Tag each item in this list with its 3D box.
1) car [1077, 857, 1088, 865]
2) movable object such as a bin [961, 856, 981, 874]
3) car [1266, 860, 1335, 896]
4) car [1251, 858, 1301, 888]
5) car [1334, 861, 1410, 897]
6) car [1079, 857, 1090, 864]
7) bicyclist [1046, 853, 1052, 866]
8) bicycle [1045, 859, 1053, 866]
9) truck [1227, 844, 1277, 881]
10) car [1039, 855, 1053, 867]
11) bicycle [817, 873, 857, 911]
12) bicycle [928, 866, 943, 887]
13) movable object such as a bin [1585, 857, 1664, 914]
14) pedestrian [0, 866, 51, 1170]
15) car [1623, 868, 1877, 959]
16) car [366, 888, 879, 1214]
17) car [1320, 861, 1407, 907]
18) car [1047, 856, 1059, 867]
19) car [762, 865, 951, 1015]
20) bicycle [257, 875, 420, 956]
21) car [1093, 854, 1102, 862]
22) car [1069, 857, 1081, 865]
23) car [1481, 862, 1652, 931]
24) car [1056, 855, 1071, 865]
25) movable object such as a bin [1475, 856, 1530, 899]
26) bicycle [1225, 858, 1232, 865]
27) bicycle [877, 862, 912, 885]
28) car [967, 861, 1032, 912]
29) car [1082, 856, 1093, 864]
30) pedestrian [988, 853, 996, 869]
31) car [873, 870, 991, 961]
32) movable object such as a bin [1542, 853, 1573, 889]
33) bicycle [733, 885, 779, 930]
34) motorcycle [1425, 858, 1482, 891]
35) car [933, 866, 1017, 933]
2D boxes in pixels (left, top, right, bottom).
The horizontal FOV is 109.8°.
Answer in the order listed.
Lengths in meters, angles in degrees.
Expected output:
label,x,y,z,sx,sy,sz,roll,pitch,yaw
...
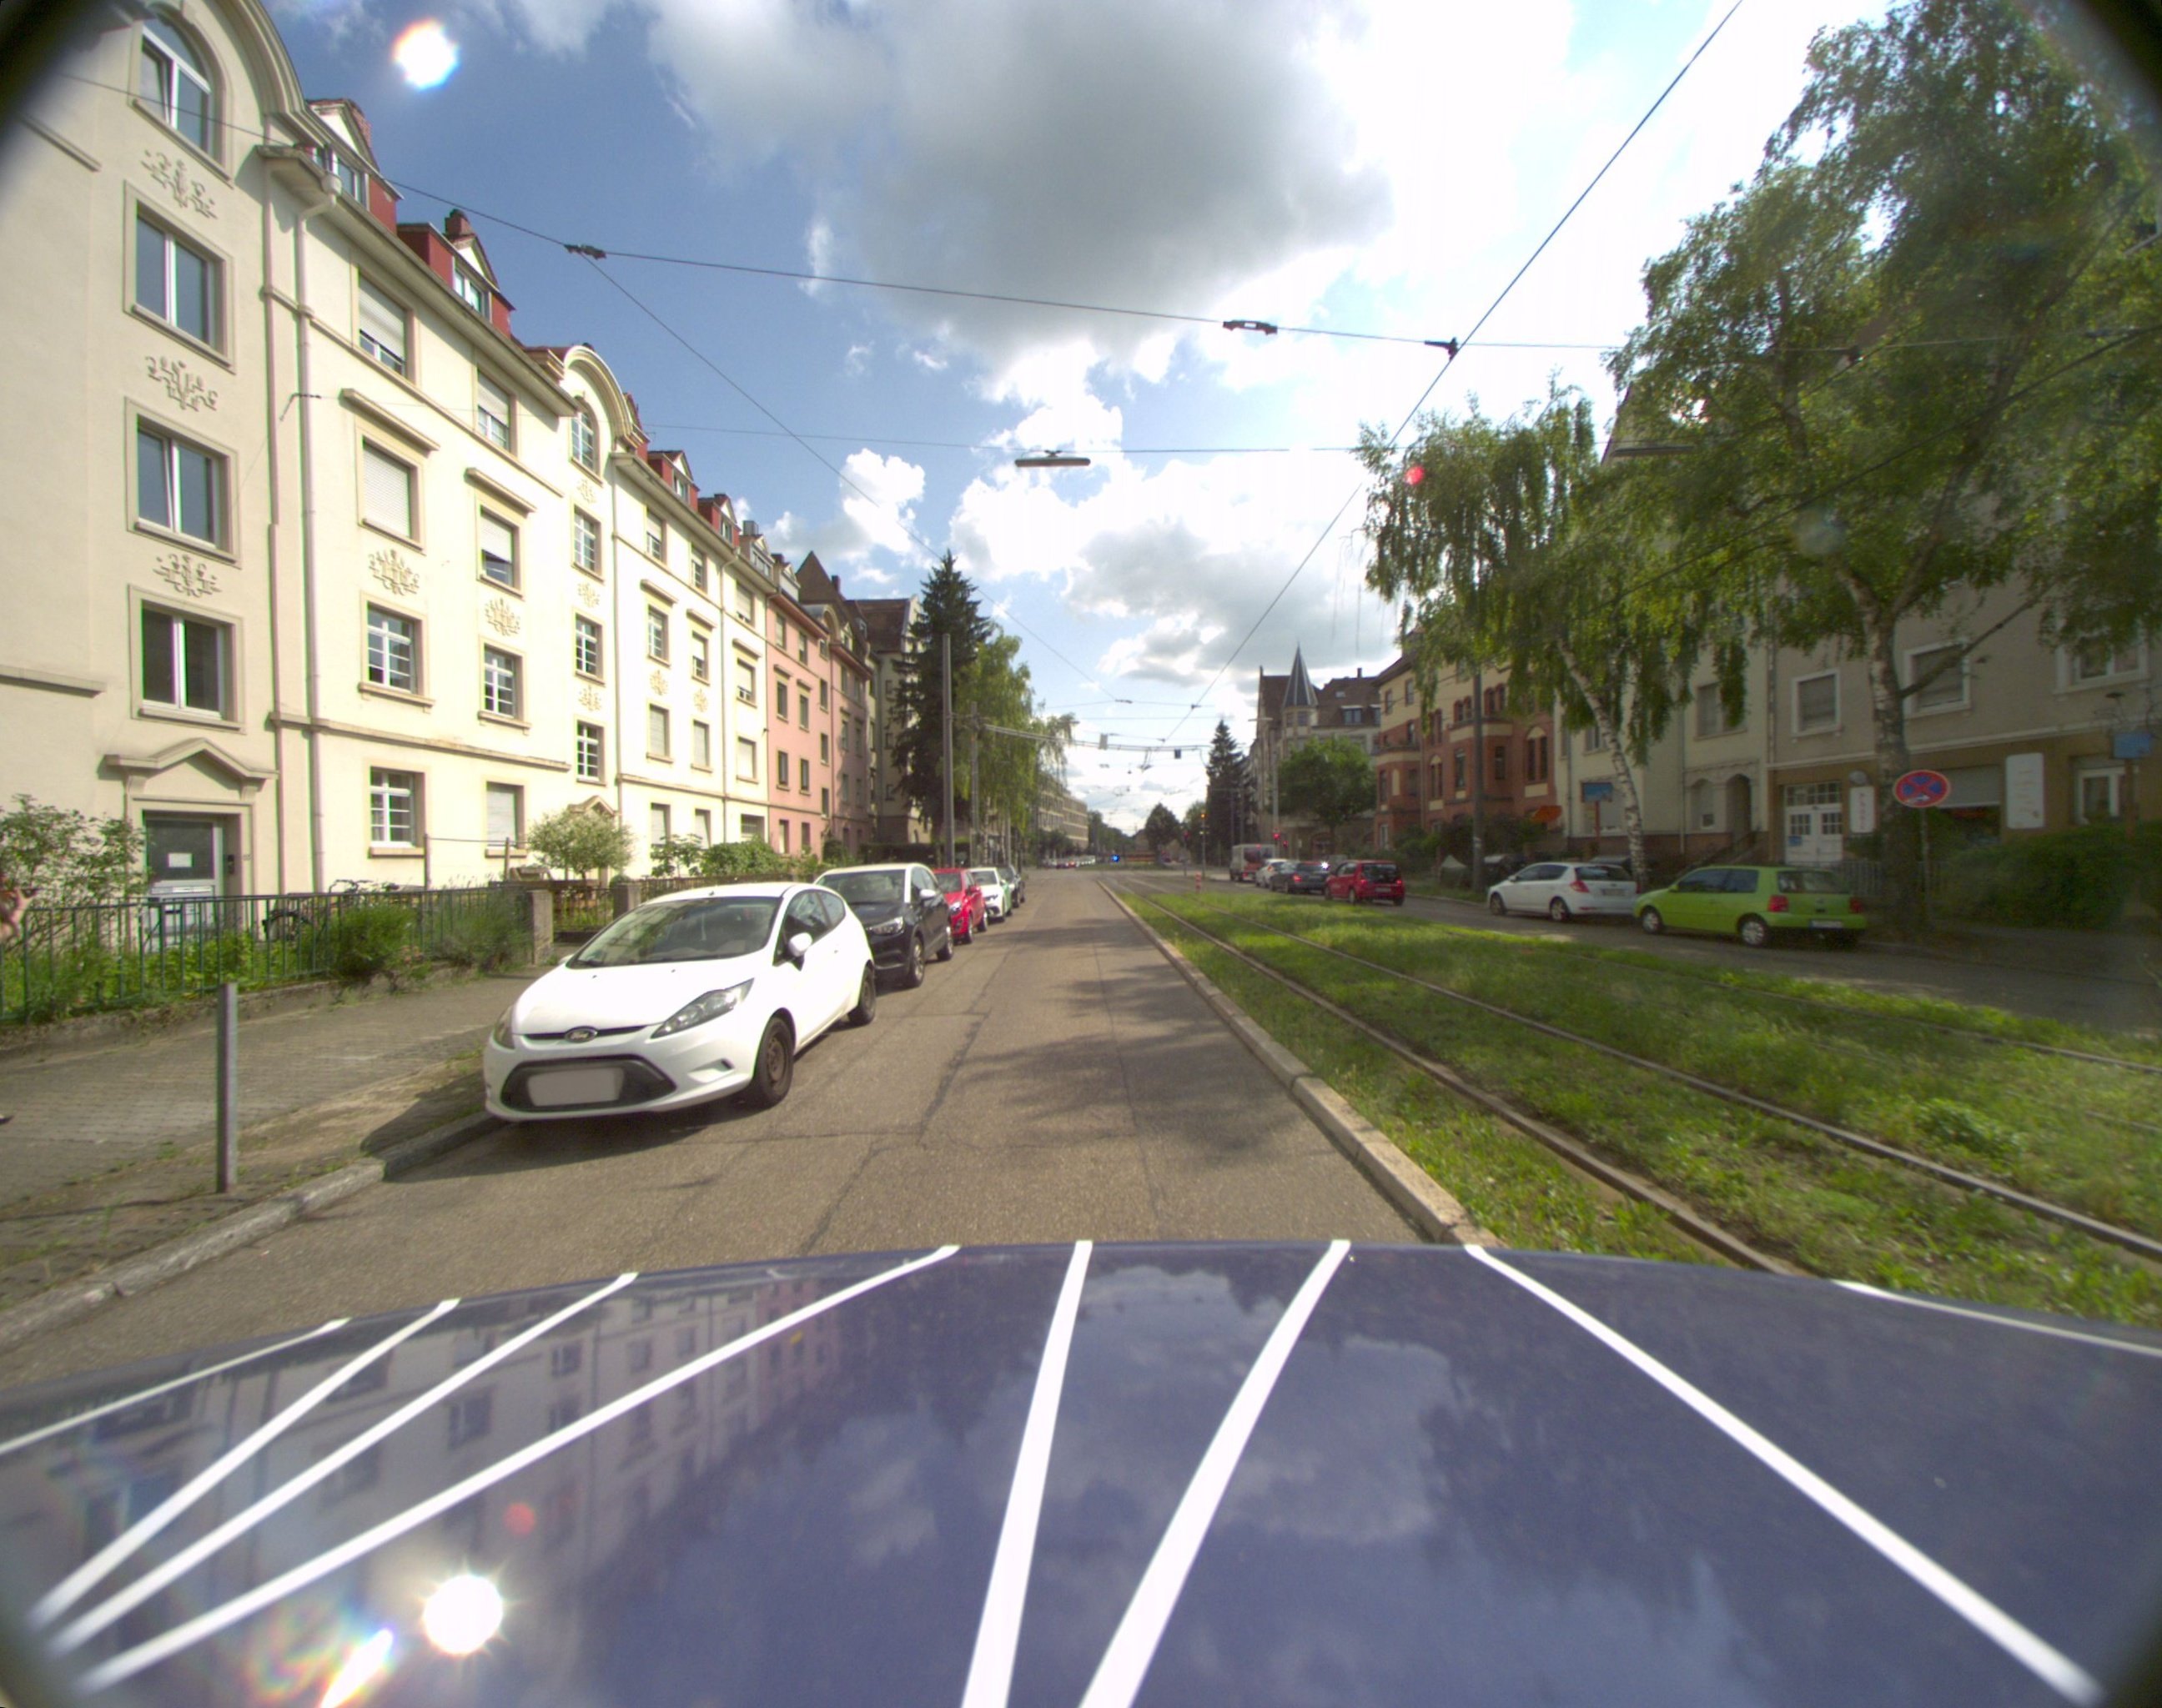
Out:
label,x,y,z,sx,sy,sz,roll,pitch,yaw
car,0.255,1.168,129.069,1.619,1.265,4.001,-2,0,4
movable object such as a bin,-9.061,0.874,62.614,1.305,1.483,2.000,0,0,1
car,9.345,0.960,32.683,1.759,1.348,4.512,1,0,2
car,9.905,0.932,38.817,1.759,1.406,4.134,1,0,4
car,12.072,0.996,31.765,1.759,1.348,3.995,0,0,2
car,0.683,1.143,135.187,1.619,1.265,4.001,-2,0,4
bicyclist,-4.143,0.679,99.343,0.665,1.679,0.857,0,0,5
bicycle,-4.155,1.084,99.154,0.771,0.885,1.892,-1,0,6
truck,10.785,0.483,48.523,2.189,2.201,6.614,0,0,4
car,-5.296,1.103,115.959,1.999,1.730,3.999,-1,0,-2
bicycle,-7.568,1.144,23.662,0.472,1.071,2.183,-1,0,1
bicycle,-7.610,1.145,39.701,0.421,1.046,1.778,0,0,1
movable object such as a bin,14.463,0.819,20.288,0.953,1.421,1.521,-3,0,-1
pedestrian,-6.336,0.903,4.062,0.731,1.673,0.691,1,0,3
car,12.214,1.003,14.208,1.598,1.423,3.614,0,0,1
car,-2.873,1.104,5.848,1.677,1.408,3.794,-4,0,-3
car,9.368,0.955,25.516,1.583,1.378,3.693,0,0,1
car,-4.502,1.214,124.289,1.836,1.674,4.000,-1,0,0
car,-2.865,1.005,10.513,1.497,1.570,3.758,-3,0,-1
bicycle,-12.305,1.003,12.629,1.978,1.244,0.672,-1,0,-2
car,3.317,0.867,155.207,1.645,1.610,3.713,-1,0,4
car,-0.881,1.135,121.019,1.619,1.265,4.001,-2,0,4
car,12.045,0.982,19.226,1.649,1.469,4.225,1,0,1
car,-2.461,0.786,106.518,1.740,1.313,4.001,-3,0,4
movable object such as a bin,14.805,0.807,26.742,0.953,1.359,1.521,-6,0,-1
bicycle,18.896,0.953,97.354,0.625,0.966,2.336,-1,0,3
bicycle,-10.197,1.081,41.608,1.777,1.213,0.421,-1,0,-1
car,-2.807,1.087,27.063,1.796,1.512,4.526,-4,0,-1
car,1.252,1.139,141.597,1.738,1.570,4.001,0,0,4
pedestrian,-10.715,0.840,91.529,0.737,1.832,0.806,-1,1,-15
car,-2.936,1.159,15.733,1.593,1.444,3.844,-4,0,0
movable object such as a bin,17.942,0.635,28.622,0.674,1.354,0.699,-1,0,-3
bicycle,-7.542,1.218,17.669,0.388,0.933,1.585,-1,0,-1
motorcycle,14.492,0.768,29.606,0.903,1.235,2.293,-1,0,-6
car,-2.746,1.128,20.447,1.623,1.444,3.918,-4,0,0
